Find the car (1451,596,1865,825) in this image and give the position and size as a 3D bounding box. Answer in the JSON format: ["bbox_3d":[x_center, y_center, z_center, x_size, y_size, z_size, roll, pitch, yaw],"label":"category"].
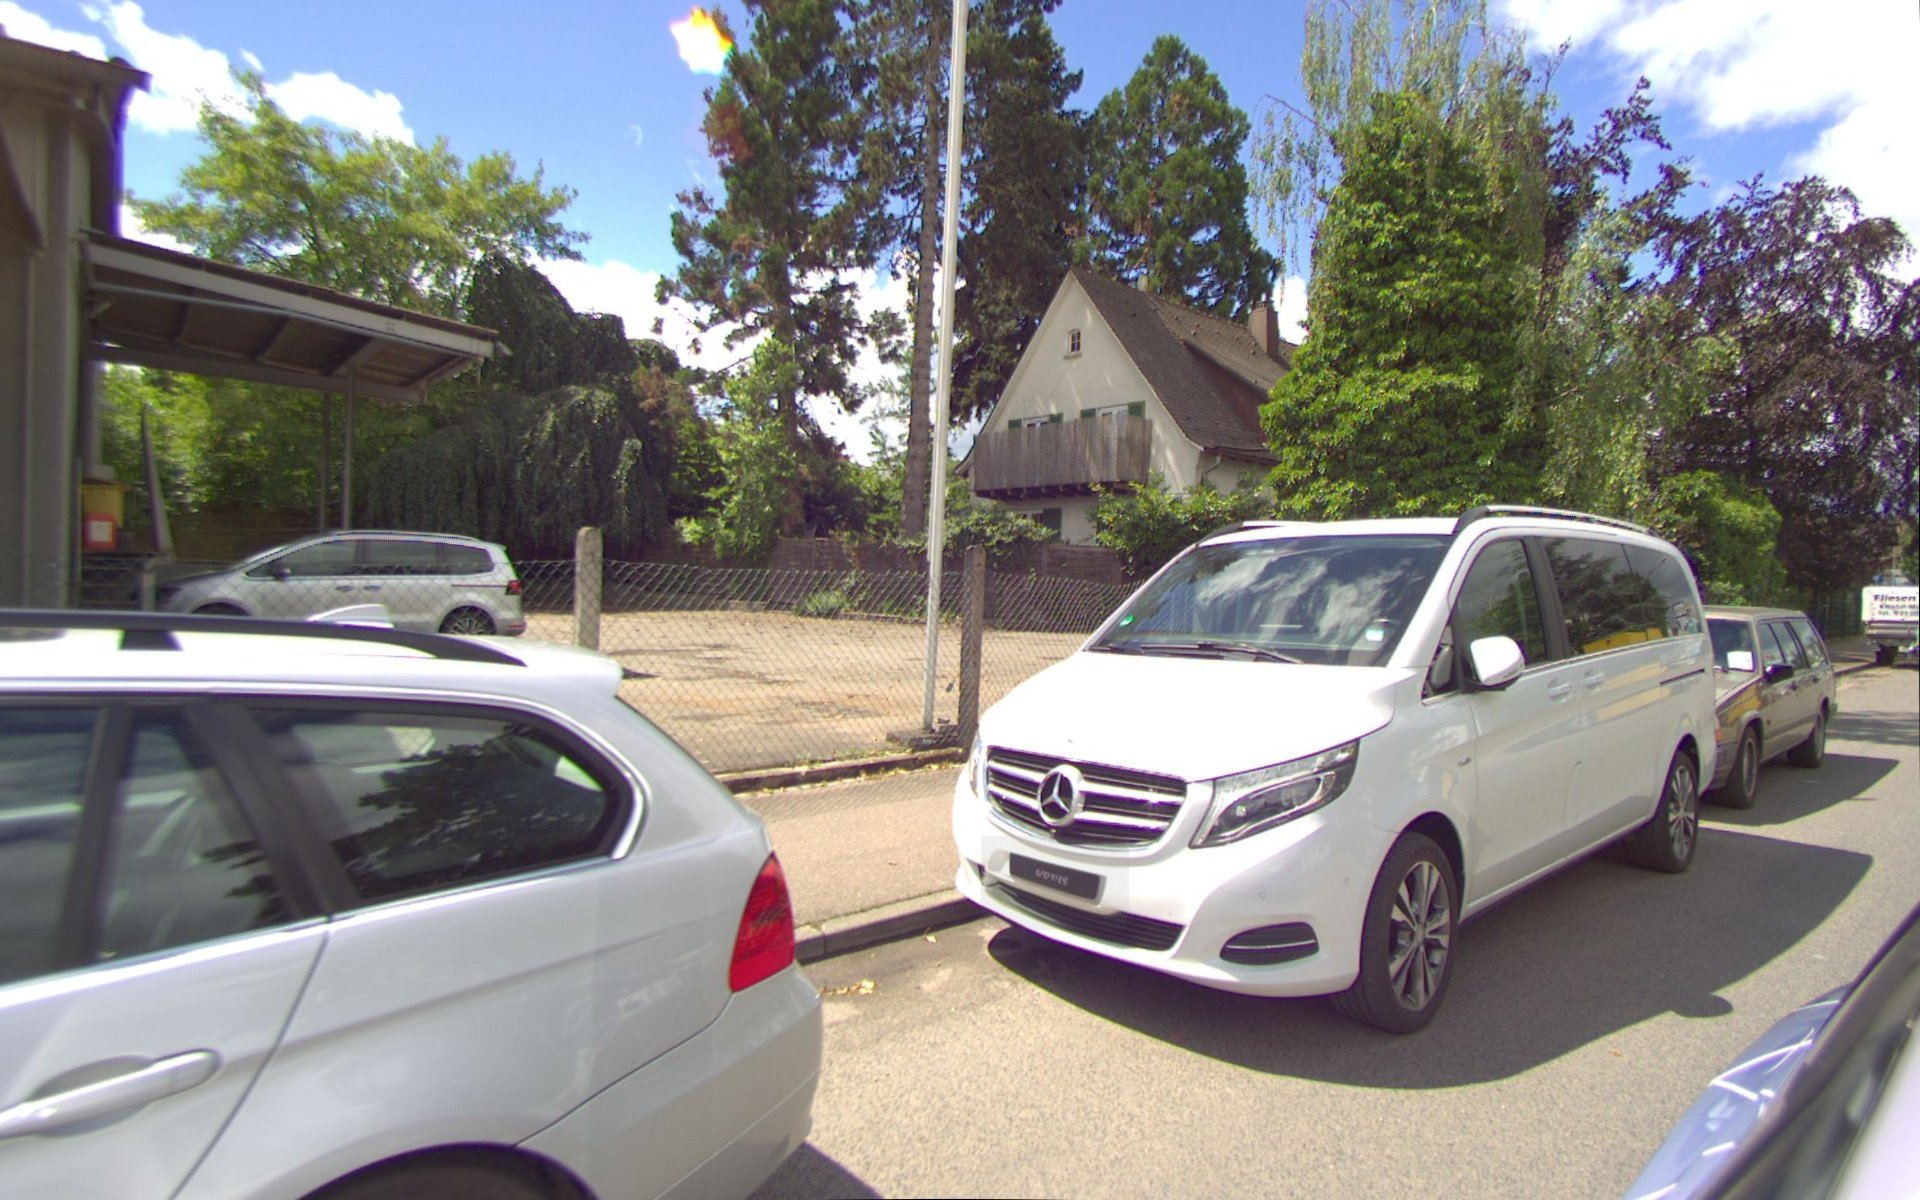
[{"bbox_3d":[6.222,0.701,8.753,4.906,1.469,1.758,0,0,-41],"label":"car"}]

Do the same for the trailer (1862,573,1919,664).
[{"bbox_3d":[21.518,0.374,22.201,4.681,1.846,1.997,0,0,-41],"label":"trailer"}]

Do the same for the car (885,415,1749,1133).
[{"bbox_3d":[2.288,0.449,5.189,5.297,1.909,1.908,0,0,-42],"label":"car"}]

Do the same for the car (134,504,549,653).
[{"bbox_3d":[-8.555,-0.218,14.272,4.725,1.774,1.822,2,1,-40],"label":"car"}]
